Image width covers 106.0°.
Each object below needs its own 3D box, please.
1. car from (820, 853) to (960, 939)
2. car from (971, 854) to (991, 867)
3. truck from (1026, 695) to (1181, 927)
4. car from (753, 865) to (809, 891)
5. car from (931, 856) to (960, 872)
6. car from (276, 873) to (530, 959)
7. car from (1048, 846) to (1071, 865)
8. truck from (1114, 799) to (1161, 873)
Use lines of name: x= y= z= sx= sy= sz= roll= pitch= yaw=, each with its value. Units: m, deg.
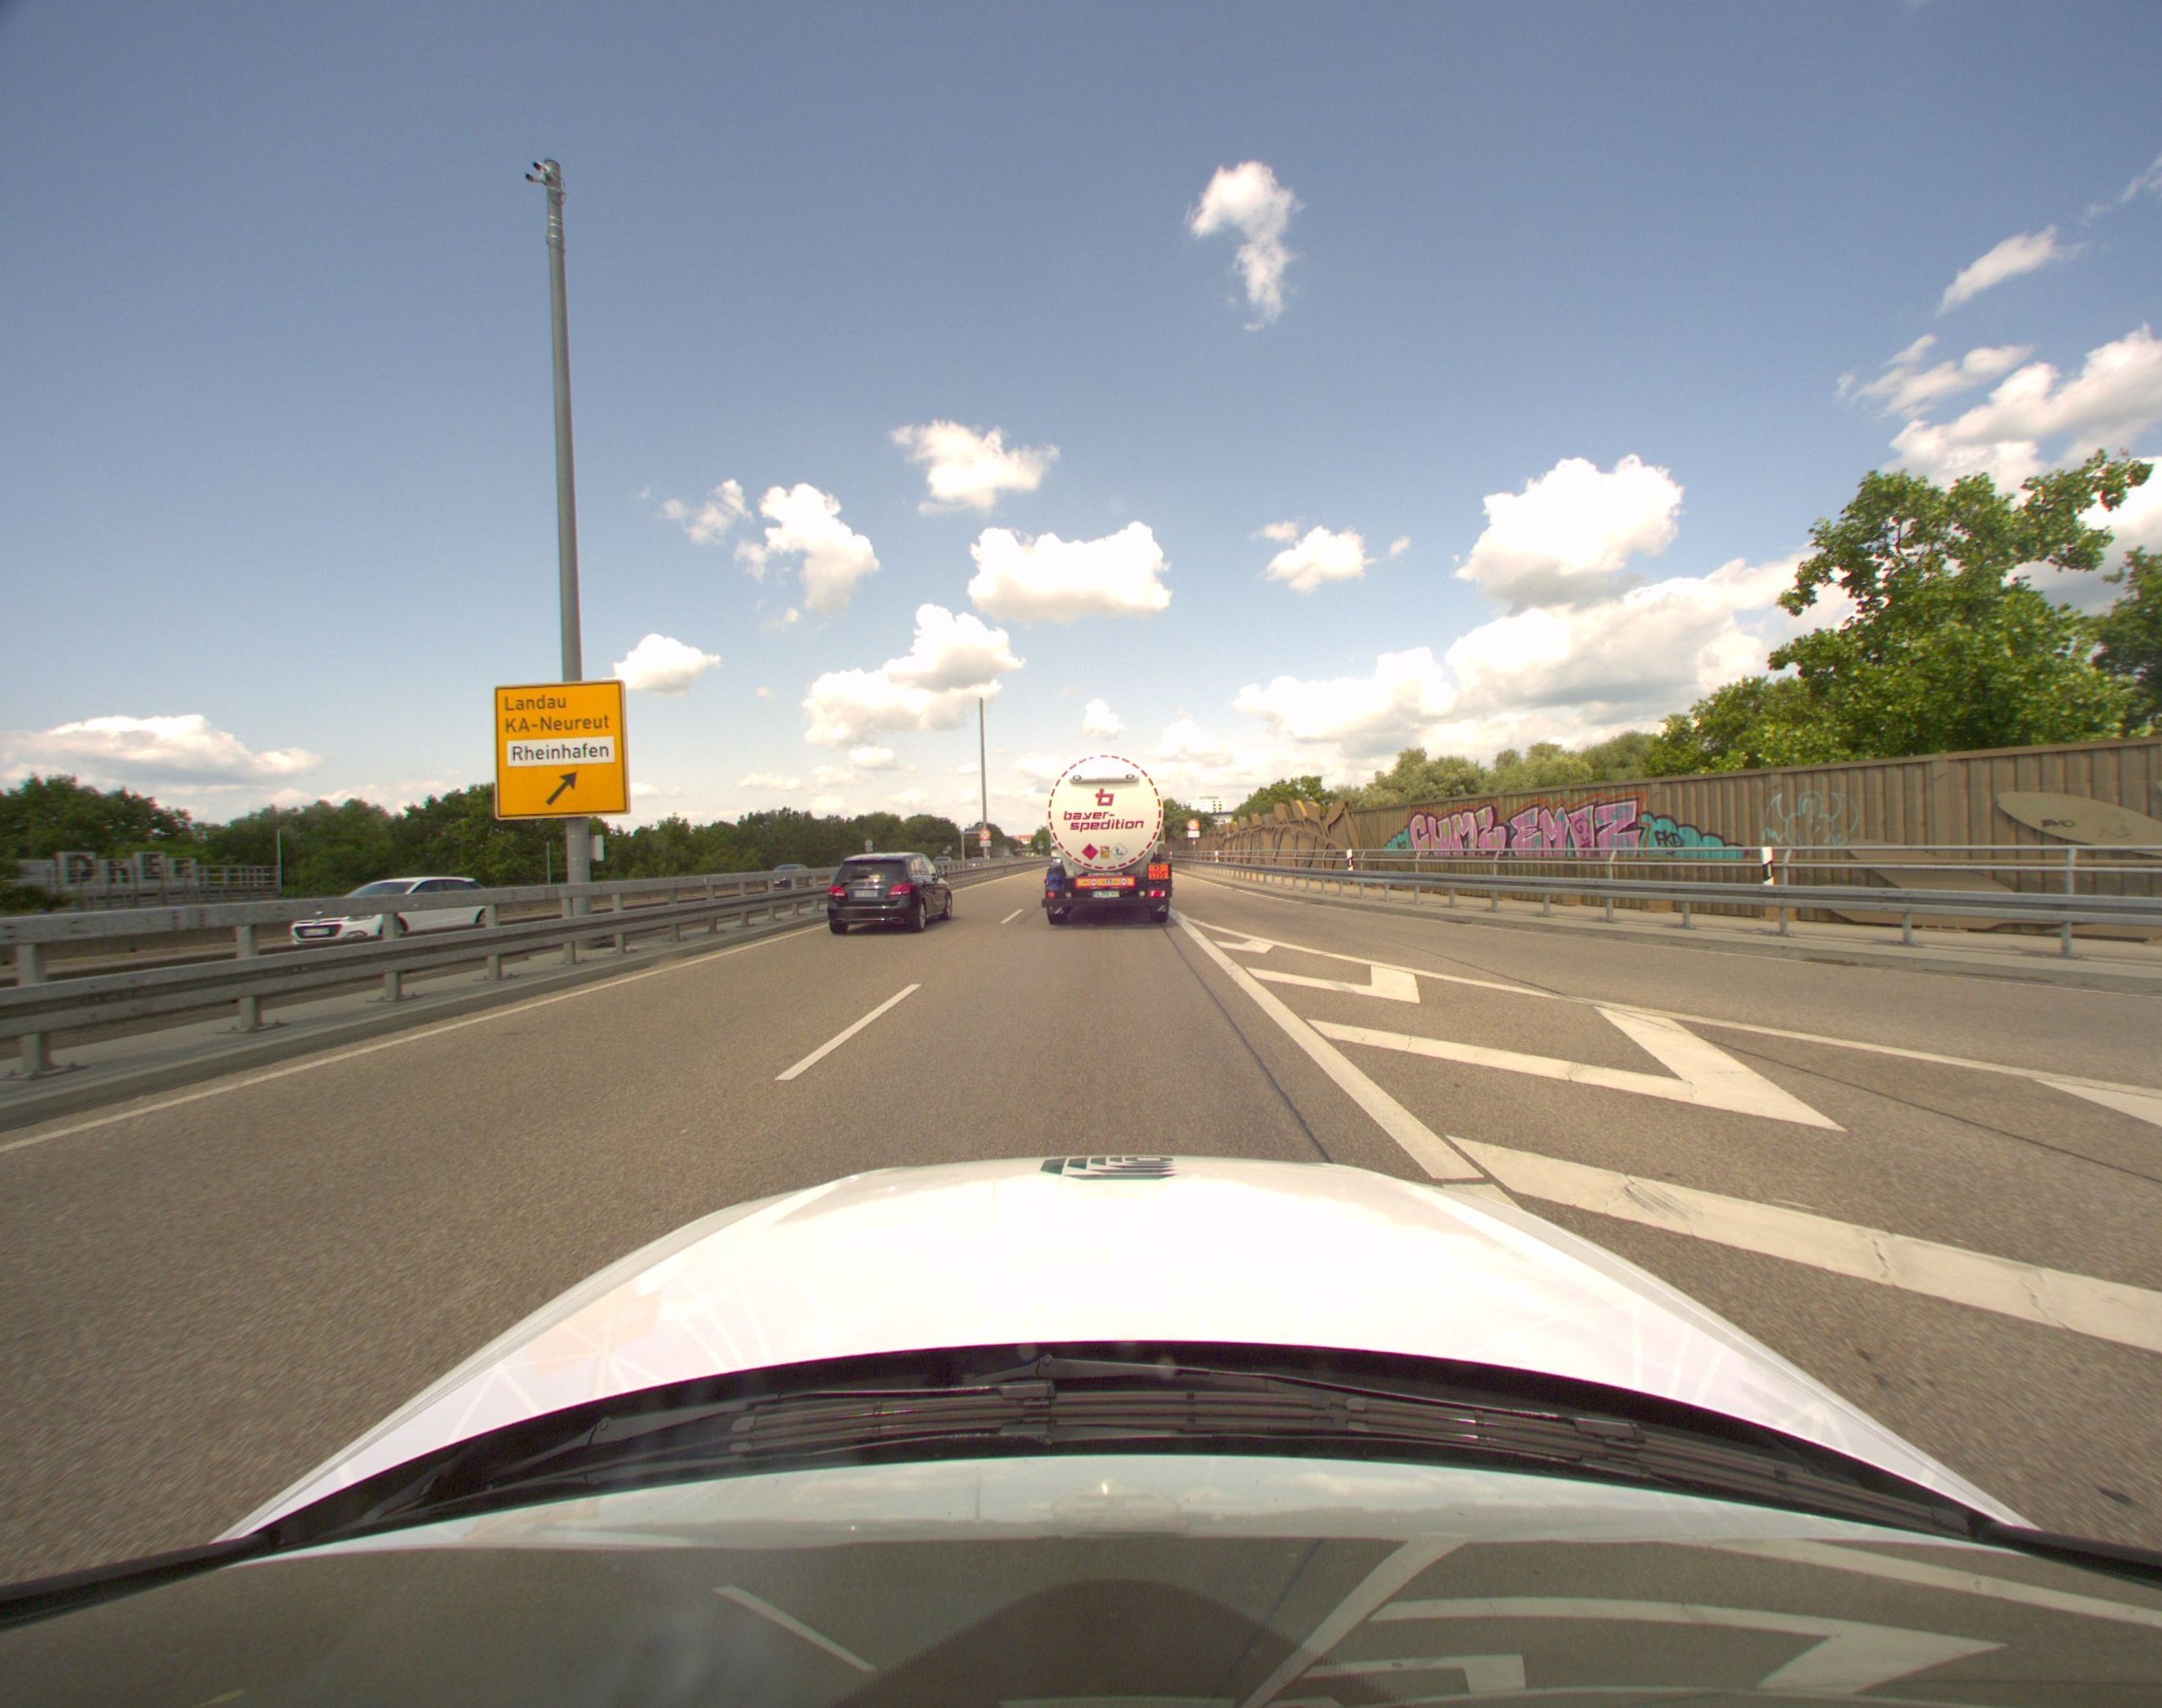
car: x=-3.806 y=0.752 z=17.035 sx=1.705 sy=1.527 sz=4.594 roll=0 pitch=0 yaw=2
car: x=-12.349 y=0.773 z=100.847 sx=1.986 sy=1.574 sz=4.001 roll=0 pitch=0 yaw=1
truck: x=0.495 y=-0.842 z=19.400 sx=2.885 sy=4.368 sz=8.030 roll=0 pitch=0 yaw=1
car: x=-17.759 y=1.397 z=48.400 sx=1.672 sy=1.401 sz=4.001 roll=-2 pitch=0 yaw=2
car: x=-13.379 y=0.954 z=80.489 sx=1.905 sy=1.464 sz=4.521 roll=-2 pitch=0 yaw=2
car: x=-15.305 y=1.301 z=18.822 sx=1.790 sy=1.596 sz=4.715 roll=0 pitch=0 yaw=2
car: x=-1.751 y=0.118 z=68.027 sx=1.741 sy=1.531 sz=4.001 roll=-1 pitch=1 yaw=1
truck: x=3.856 y=-1.191 z=57.231 sx=2.885 sy=4.807 sz=8.030 roll=0 pitch=0 yaw=1
